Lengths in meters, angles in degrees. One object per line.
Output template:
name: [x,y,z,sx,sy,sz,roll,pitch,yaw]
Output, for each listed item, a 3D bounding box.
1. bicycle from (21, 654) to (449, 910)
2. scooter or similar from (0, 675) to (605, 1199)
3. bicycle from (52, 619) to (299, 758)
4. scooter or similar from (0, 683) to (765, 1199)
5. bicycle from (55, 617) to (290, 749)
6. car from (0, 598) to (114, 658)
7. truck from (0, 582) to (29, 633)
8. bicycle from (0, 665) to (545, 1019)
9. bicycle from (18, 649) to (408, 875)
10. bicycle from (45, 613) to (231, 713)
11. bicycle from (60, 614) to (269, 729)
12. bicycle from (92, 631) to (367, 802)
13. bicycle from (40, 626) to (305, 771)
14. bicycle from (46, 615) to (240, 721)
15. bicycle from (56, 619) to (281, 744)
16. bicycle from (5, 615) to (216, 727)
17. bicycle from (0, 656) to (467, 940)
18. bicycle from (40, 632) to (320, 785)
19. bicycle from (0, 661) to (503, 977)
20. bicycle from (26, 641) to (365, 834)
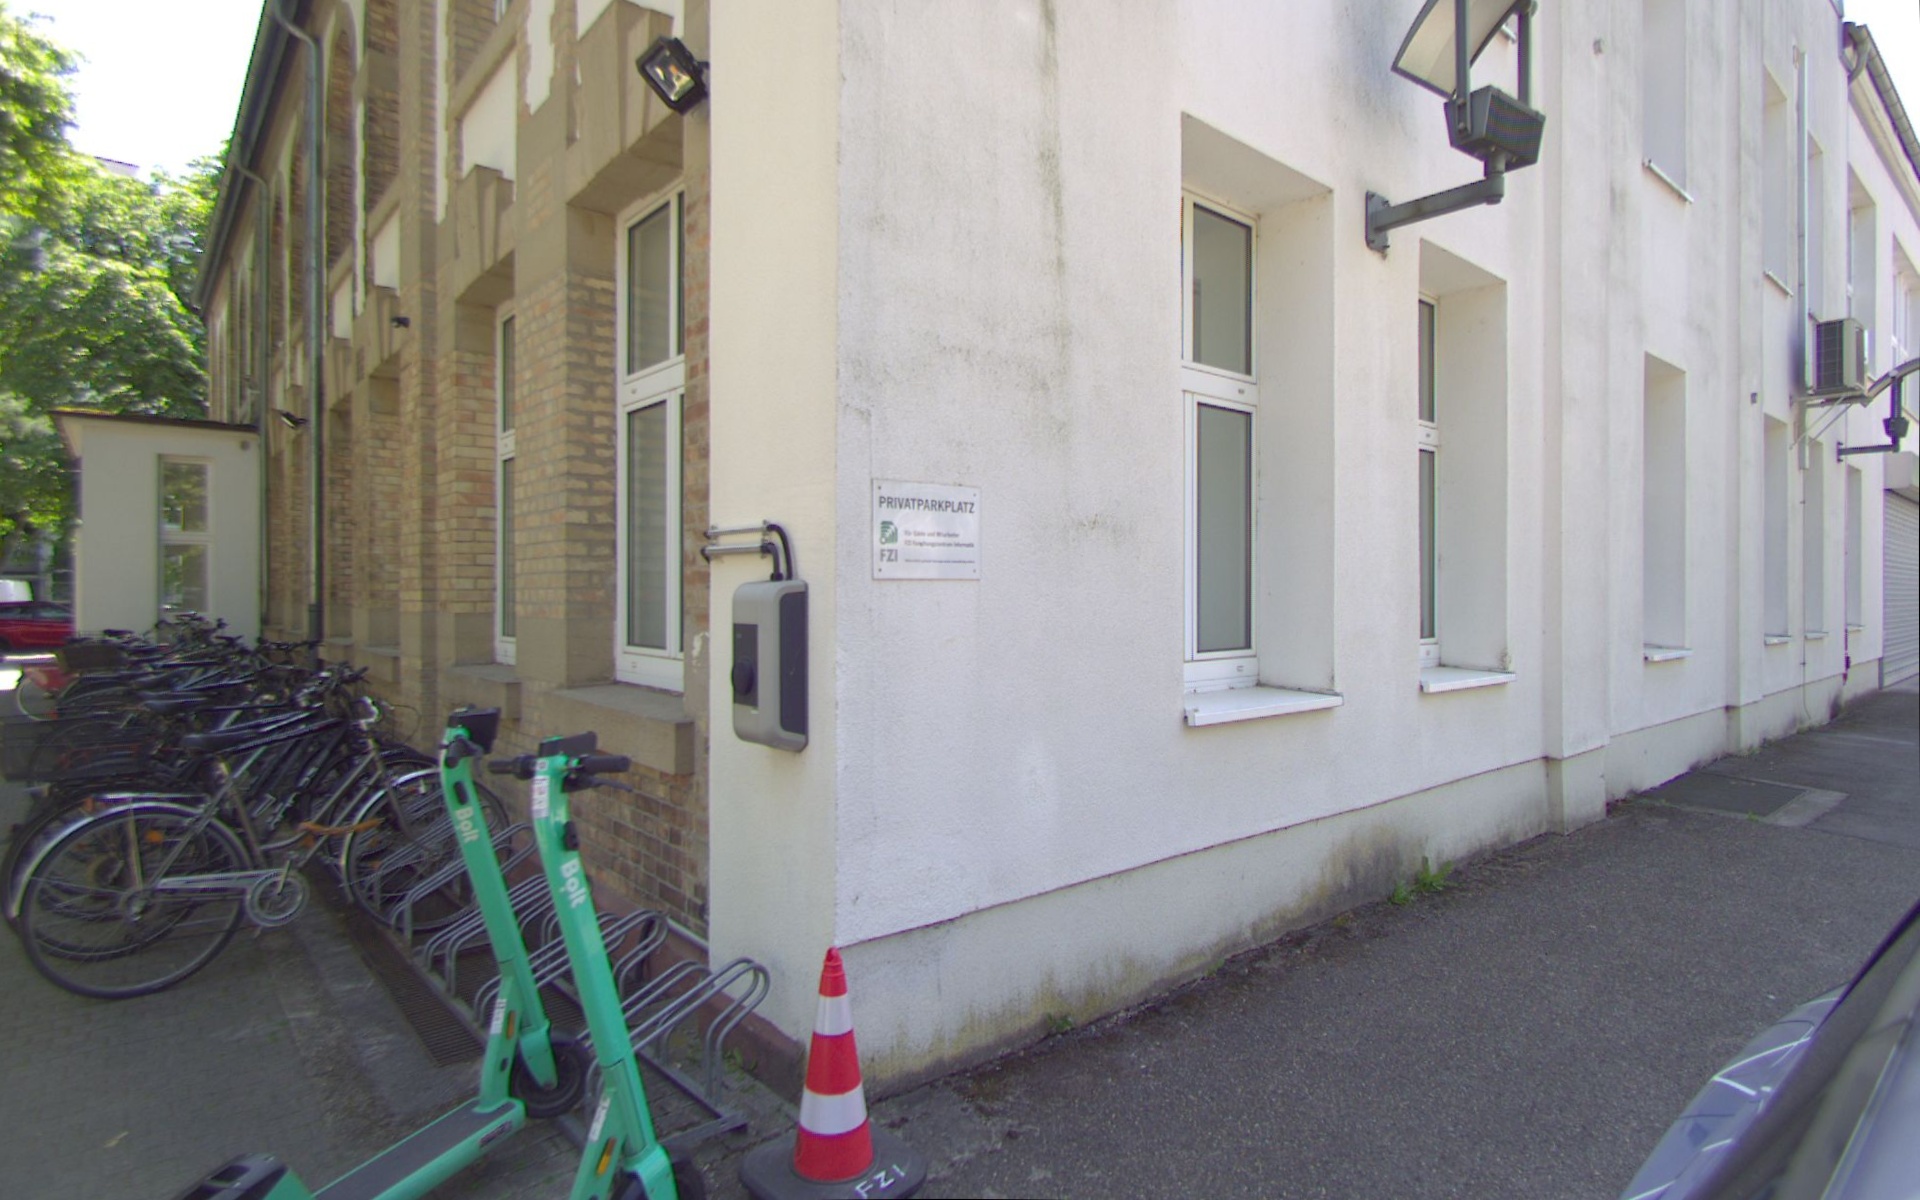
bicycle: [-3.803,0.883,5.453,1.802,1.081,0.504,-1,0,-40]
scooter or similar: [-1.471,0.824,2.287,0.461,1.188,1.242,-1,1,32]
bicycle: [-7.419,0.790,9.658,1.809,1.157,0.589,-1,0,-40]
scooter or similar: [-1.038,0.813,1.839,0.463,1.188,1.337,-1,1,41]
bicycle: [-7.831,0.777,10.144,1.809,1.157,0.589,-1,0,-40]
car: [-25.094,0.733,26.730,1.686,1.482,3.910,0,1,21]
truck: [-37.443,0.342,37.085,4.550,1.856,1.658,-2,1,-26]
bicycle: [-2.716,0.868,4.175,1.802,1.081,0.454,-1,0,-40]
bicycle: [-4.328,0.875,5.997,1.802,1.081,0.504,0,0,-40]
bicycle: [-10.478,0.769,12.971,1.809,1.157,0.589,-1,0,-40]
bicycle: [-8.937,0.759,11.439,1.809,1.157,0.589,-1,0,-40]
bicycle: [-5.599,0.827,7.904,0.466,1.117,1.825,0,0,18]
bicycle: [-6.955,0.821,9.028,1.809,1.114,0.522,-1,0,-40]
bicycle: [-9.970,0.790,12.421,1.809,1.157,0.589,-1,0,-40]
bicycle: [-8.258,0.804,10.633,1.809,1.157,0.589,-1,0,-40]
bicycle: [-9.744,0.775,11.698,1.807,1.157,0.589,-1,0,-35]
bicycle: [-3.472,0.867,4.990,1.802,1.081,0.504,-1,0,-40]
bicycle: [-6.440,0.847,8.451,1.803,1.083,0.522,-1,0,-40]
bicycle: [-3.087,0.875,4.583,1.802,1.081,0.454,-1,0,-40]
bicycle: [-5.179,0.871,6.969,1.802,1.117,0.522,0,0,-40]
